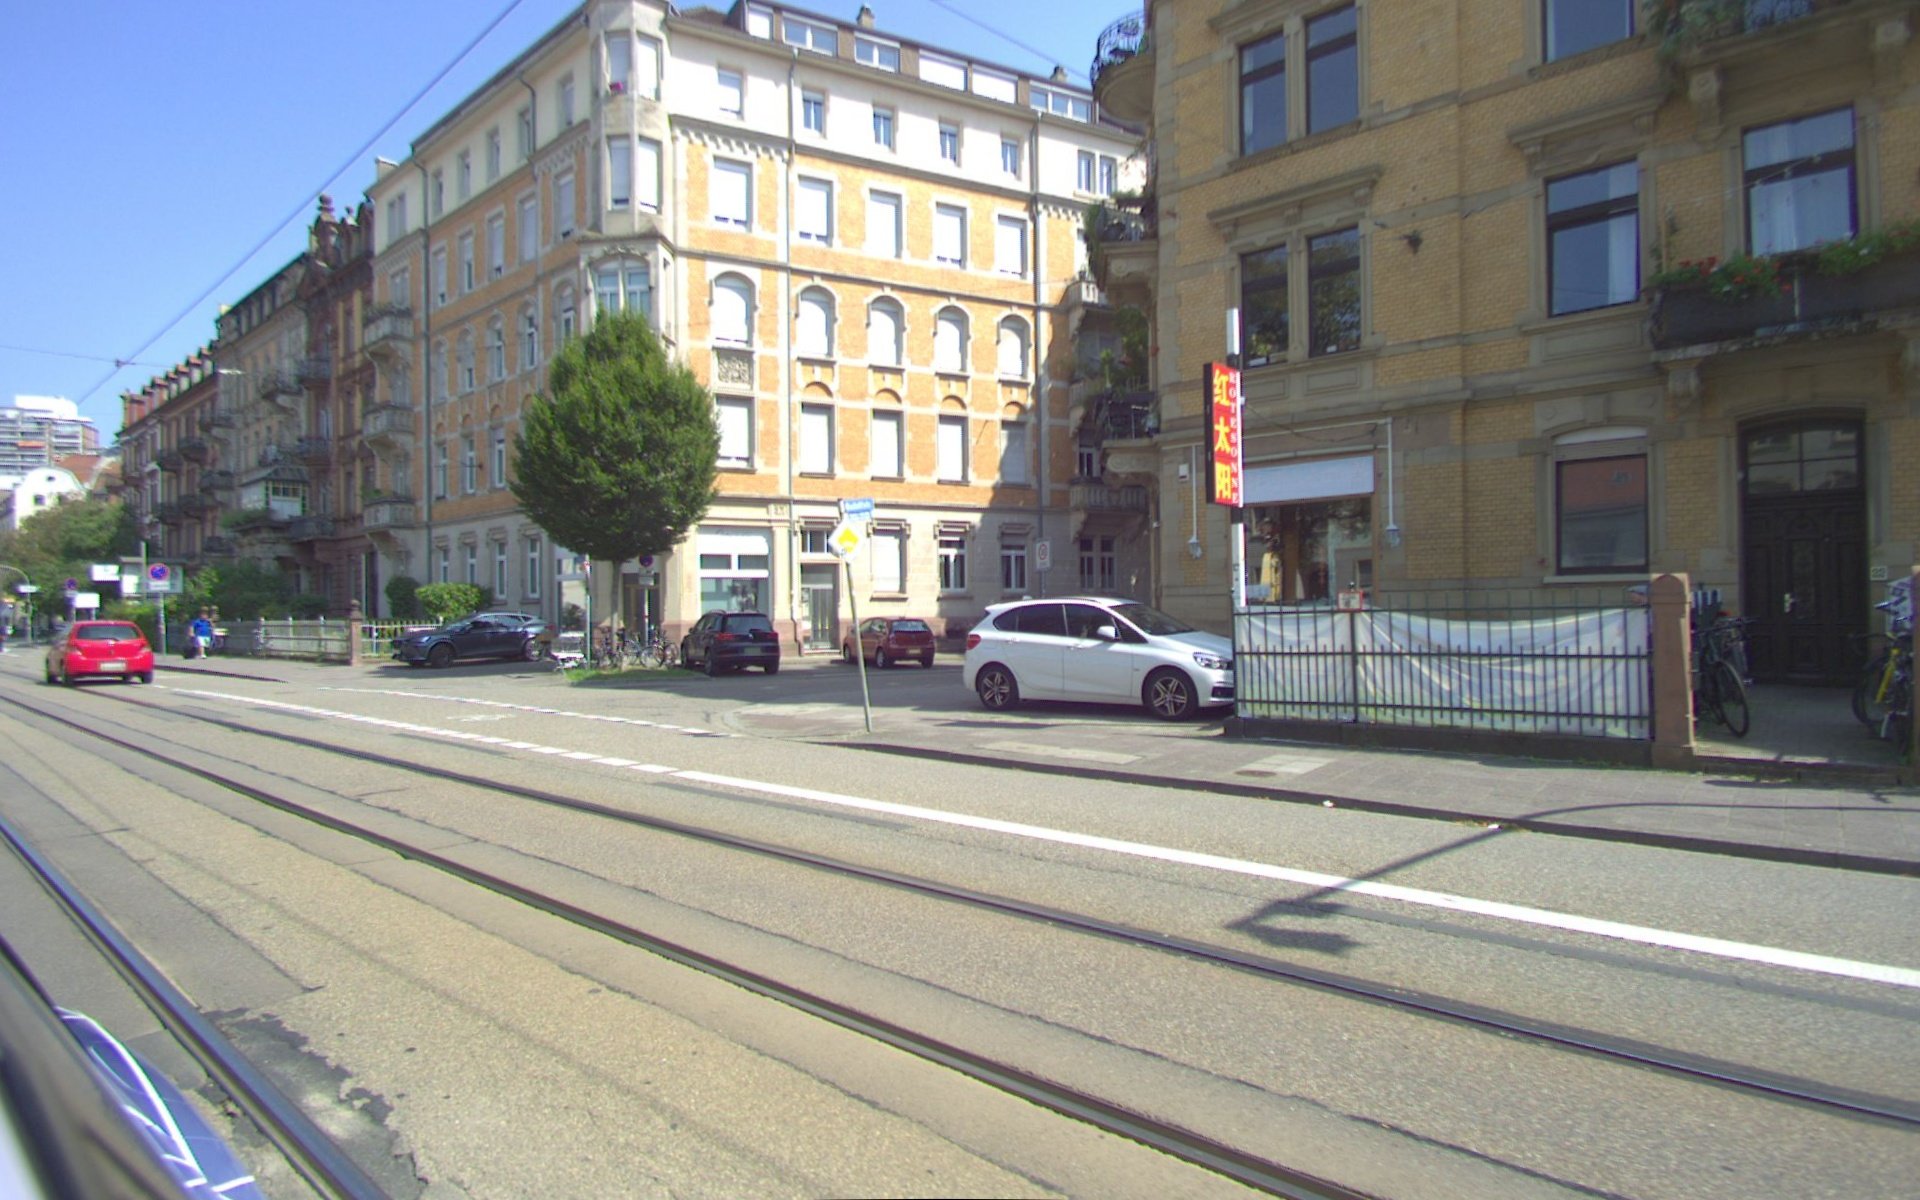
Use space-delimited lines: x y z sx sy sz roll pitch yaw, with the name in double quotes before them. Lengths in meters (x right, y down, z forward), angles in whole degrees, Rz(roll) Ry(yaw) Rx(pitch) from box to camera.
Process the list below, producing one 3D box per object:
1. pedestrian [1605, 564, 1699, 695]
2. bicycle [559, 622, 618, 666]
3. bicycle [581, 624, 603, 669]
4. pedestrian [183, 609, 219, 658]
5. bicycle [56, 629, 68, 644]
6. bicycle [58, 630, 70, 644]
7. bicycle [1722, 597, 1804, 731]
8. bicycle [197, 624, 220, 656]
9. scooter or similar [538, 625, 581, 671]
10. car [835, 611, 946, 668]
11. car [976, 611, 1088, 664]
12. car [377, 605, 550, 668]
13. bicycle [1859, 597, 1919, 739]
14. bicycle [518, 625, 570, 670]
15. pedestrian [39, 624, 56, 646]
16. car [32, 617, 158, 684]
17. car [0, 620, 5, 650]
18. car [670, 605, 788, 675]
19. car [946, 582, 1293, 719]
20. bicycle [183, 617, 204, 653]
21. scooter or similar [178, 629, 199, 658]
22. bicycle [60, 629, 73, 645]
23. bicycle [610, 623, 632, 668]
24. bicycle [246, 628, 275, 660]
"pedestrian" 8.455 0.356 12.399 0.883 1.522 0.860 -1 -1 33
"bicycle" -10.116 1.185 27.564 1.428 1.107 0.391 -1 -1 -38
"bicycle" -9.355 1.167 25.710 0.384 1.107 1.456 -1 -1 -24
"pedestrian" -27.552 1.204 36.724 0.869 1.769 0.874 -2 -1 41
"bicycle" -62.194 2.538 70.078 1.778 1.029 0.482 -2 -1 44
"bicycle" -60.190 2.495 67.987 1.657 0.949 0.482 -2 -1 44
"bicycle" 7.330 0.544 9.218 0.391 1.119 1.545 -2 -1 45
"bicycle" -28.405 1.503 38.262 1.581 1.156 0.386 -2 -1 42
"scooter or similar" -9.938 1.180 25.102 0.588 1.107 1.392 -1 -1 -39
"car" -2.096 1.110 29.735 1.818 1.487 3.770 0 0 -29
"car" 2.173 1.112 31.439 1.761 1.487 3.771 0 0 -28
"car" -14.258 1.005 29.205 1.878 1.606 4.058 -1 0 42
"bicycle" 7.926 0.531 8.542 0.391 1.107 1.545 -2 -1 45
"bicycle" -10.762 1.212 26.197 0.387 1.107 1.443 -2 -1 18
"pedestrian" -88.135 3.344 97.772 1.036 2.029 1.080 -1 0 41
"car" -20.927 1.178 24.442 3.997 1.502 1.714 -2 -2 41
"car" -51.921 1.874 53.409 3.997 1.552 1.808 -2 -2 41
"car" -6.252 1.006 27.035 1.965 1.701 4.373 0 -1 -28
"car" 2.116 0.634 14.029 4.352 1.606 1.975 -1 -1 38
"bicycle" -30.953 1.422 40.875 1.581 1.416 0.386 -2 -1 42
"scooter or similar" -27.942 1.572 36.653 0.583 0.990 0.397 -1 0 33
"bicycle" -58.905 2.422 66.721 1.657 0.994 0.482 -2 -1 44
"bicycle" -8.681 1.144 25.921 0.384 1.107 1.456 -1 -1 -24
"bicycle" -23.834 1.495 34.465 1.832 1.046 0.386 -2 -1 42
